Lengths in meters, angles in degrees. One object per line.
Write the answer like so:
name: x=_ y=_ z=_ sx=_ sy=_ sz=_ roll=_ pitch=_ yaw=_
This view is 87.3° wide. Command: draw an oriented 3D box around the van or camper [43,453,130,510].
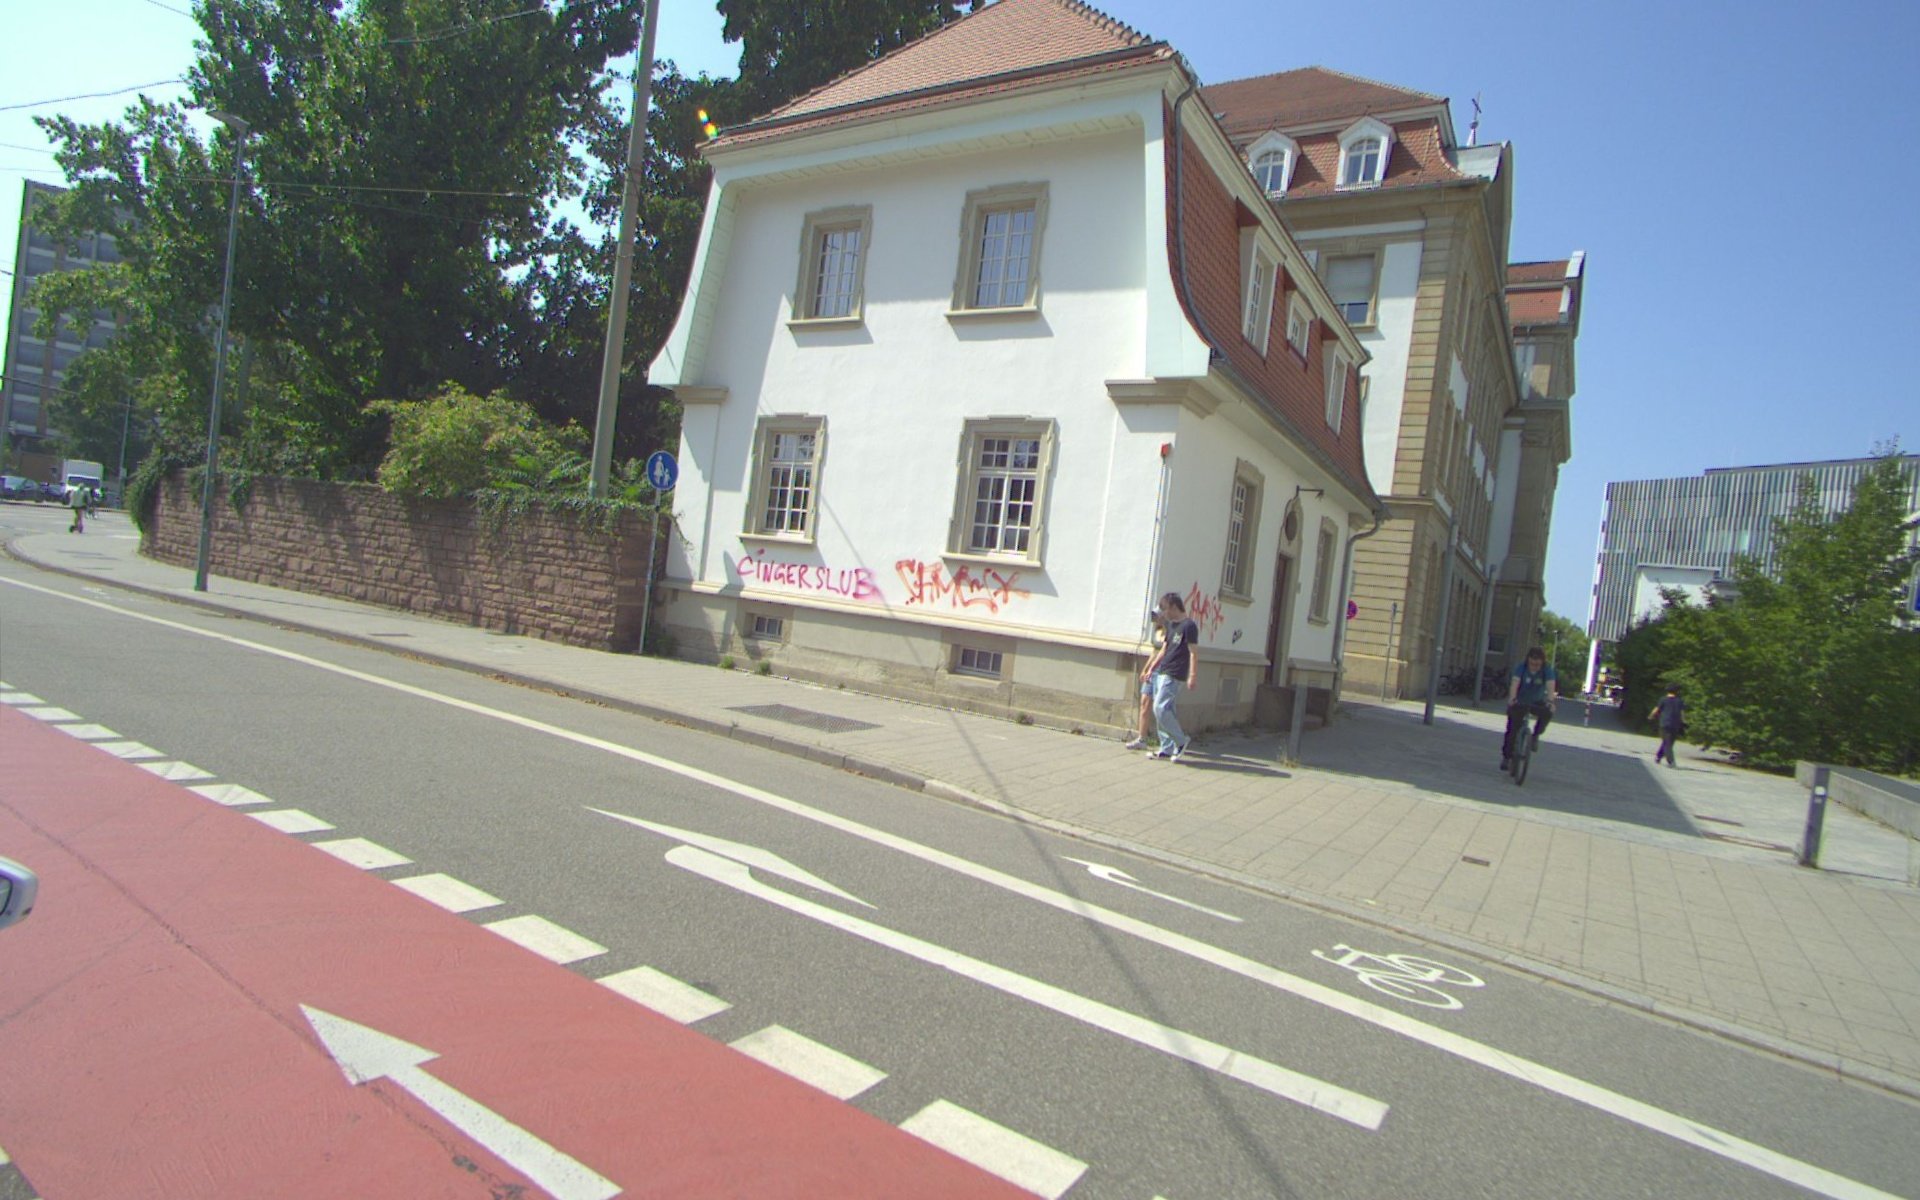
van or camper: x=-62.914 y=-8.435 z=72.625 sx=2.376 sy=3.347 sz=7.149 roll=7 pitch=0 yaw=-23

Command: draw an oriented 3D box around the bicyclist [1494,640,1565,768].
bicyclist: x=7.596 y=1.360 z=13.435 sx=0.617 sy=1.560 sz=0.901 roll=8 pitch=4 yaw=30

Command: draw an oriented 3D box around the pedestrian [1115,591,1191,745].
pedestrian: x=2.222 y=0.762 z=11.619 sx=0.479 sy=1.686 sz=0.619 roll=7 pitch=1 yaw=-7

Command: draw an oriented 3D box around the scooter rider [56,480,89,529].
scooter rider: x=-34.780 y=-3.724 z=39.424 sx=0.757 sy=1.798 sz=0.550 roll=7 pitch=1 yaw=-33

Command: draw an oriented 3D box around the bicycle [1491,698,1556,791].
bicycle: x=7.546 y=1.895 z=13.469 sx=0.605 sy=1.013 sz=1.707 roll=8 pitch=2 yaw=30

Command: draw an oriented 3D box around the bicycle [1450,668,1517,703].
bicycle: x=19.852 y=3.219 z=38.168 sx=2.101 sy=1.015 sz=0.492 roll=7 pitch=1 yaw=31

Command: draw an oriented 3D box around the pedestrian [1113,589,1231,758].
pedestrian: x=2.302 y=0.778 z=10.995 sx=0.864 sy=1.686 sz=0.728 roll=8 pitch=1 yaw=-7

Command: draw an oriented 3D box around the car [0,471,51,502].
car: x=-57.714 y=-6.985 z=61.529 sx=1.679 sy=1.549 sz=4.160 roll=7 pitch=0 yaw=-23

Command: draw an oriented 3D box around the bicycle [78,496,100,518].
bicycle: x=-47.320 y=-5.047 z=54.661 sx=0.440 sy=1.131 sz=1.437 roll=6 pitch=1 yaw=-24

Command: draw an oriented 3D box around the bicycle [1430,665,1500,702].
bicycle: x=18.079 y=2.990 z=36.046 sx=2.101 sy=1.015 sz=0.492 roll=7 pitch=1 yaw=31

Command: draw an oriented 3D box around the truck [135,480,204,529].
truck: x=-58.474 y=-7.010 z=74.548 sx=2.675 sy=3.026 sz=5.924 roll=8 pitch=0 yaw=-28

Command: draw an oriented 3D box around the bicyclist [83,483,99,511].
bicyclist: x=-47.317 y=-5.618 z=54.786 sx=0.445 sy=1.439 sz=0.492 roll=6 pitch=1 yaw=-24

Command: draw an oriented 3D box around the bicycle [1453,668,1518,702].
bicycle: x=20.467 y=3.289 z=39.191 sx=2.101 sy=1.015 sz=0.492 roll=7 pitch=1 yaw=31

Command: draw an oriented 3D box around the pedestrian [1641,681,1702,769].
pedestrian: x=14.202 y=2.480 z=20.094 sx=0.592 sy=1.599 sz=0.741 roll=7 pitch=1 yaw=14

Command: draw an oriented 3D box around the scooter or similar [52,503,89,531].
scooter or similar: x=-34.789 y=-3.245 z=39.347 sx=0.767 sy=0.938 sz=1.605 roll=8 pitch=0 yaw=-33
